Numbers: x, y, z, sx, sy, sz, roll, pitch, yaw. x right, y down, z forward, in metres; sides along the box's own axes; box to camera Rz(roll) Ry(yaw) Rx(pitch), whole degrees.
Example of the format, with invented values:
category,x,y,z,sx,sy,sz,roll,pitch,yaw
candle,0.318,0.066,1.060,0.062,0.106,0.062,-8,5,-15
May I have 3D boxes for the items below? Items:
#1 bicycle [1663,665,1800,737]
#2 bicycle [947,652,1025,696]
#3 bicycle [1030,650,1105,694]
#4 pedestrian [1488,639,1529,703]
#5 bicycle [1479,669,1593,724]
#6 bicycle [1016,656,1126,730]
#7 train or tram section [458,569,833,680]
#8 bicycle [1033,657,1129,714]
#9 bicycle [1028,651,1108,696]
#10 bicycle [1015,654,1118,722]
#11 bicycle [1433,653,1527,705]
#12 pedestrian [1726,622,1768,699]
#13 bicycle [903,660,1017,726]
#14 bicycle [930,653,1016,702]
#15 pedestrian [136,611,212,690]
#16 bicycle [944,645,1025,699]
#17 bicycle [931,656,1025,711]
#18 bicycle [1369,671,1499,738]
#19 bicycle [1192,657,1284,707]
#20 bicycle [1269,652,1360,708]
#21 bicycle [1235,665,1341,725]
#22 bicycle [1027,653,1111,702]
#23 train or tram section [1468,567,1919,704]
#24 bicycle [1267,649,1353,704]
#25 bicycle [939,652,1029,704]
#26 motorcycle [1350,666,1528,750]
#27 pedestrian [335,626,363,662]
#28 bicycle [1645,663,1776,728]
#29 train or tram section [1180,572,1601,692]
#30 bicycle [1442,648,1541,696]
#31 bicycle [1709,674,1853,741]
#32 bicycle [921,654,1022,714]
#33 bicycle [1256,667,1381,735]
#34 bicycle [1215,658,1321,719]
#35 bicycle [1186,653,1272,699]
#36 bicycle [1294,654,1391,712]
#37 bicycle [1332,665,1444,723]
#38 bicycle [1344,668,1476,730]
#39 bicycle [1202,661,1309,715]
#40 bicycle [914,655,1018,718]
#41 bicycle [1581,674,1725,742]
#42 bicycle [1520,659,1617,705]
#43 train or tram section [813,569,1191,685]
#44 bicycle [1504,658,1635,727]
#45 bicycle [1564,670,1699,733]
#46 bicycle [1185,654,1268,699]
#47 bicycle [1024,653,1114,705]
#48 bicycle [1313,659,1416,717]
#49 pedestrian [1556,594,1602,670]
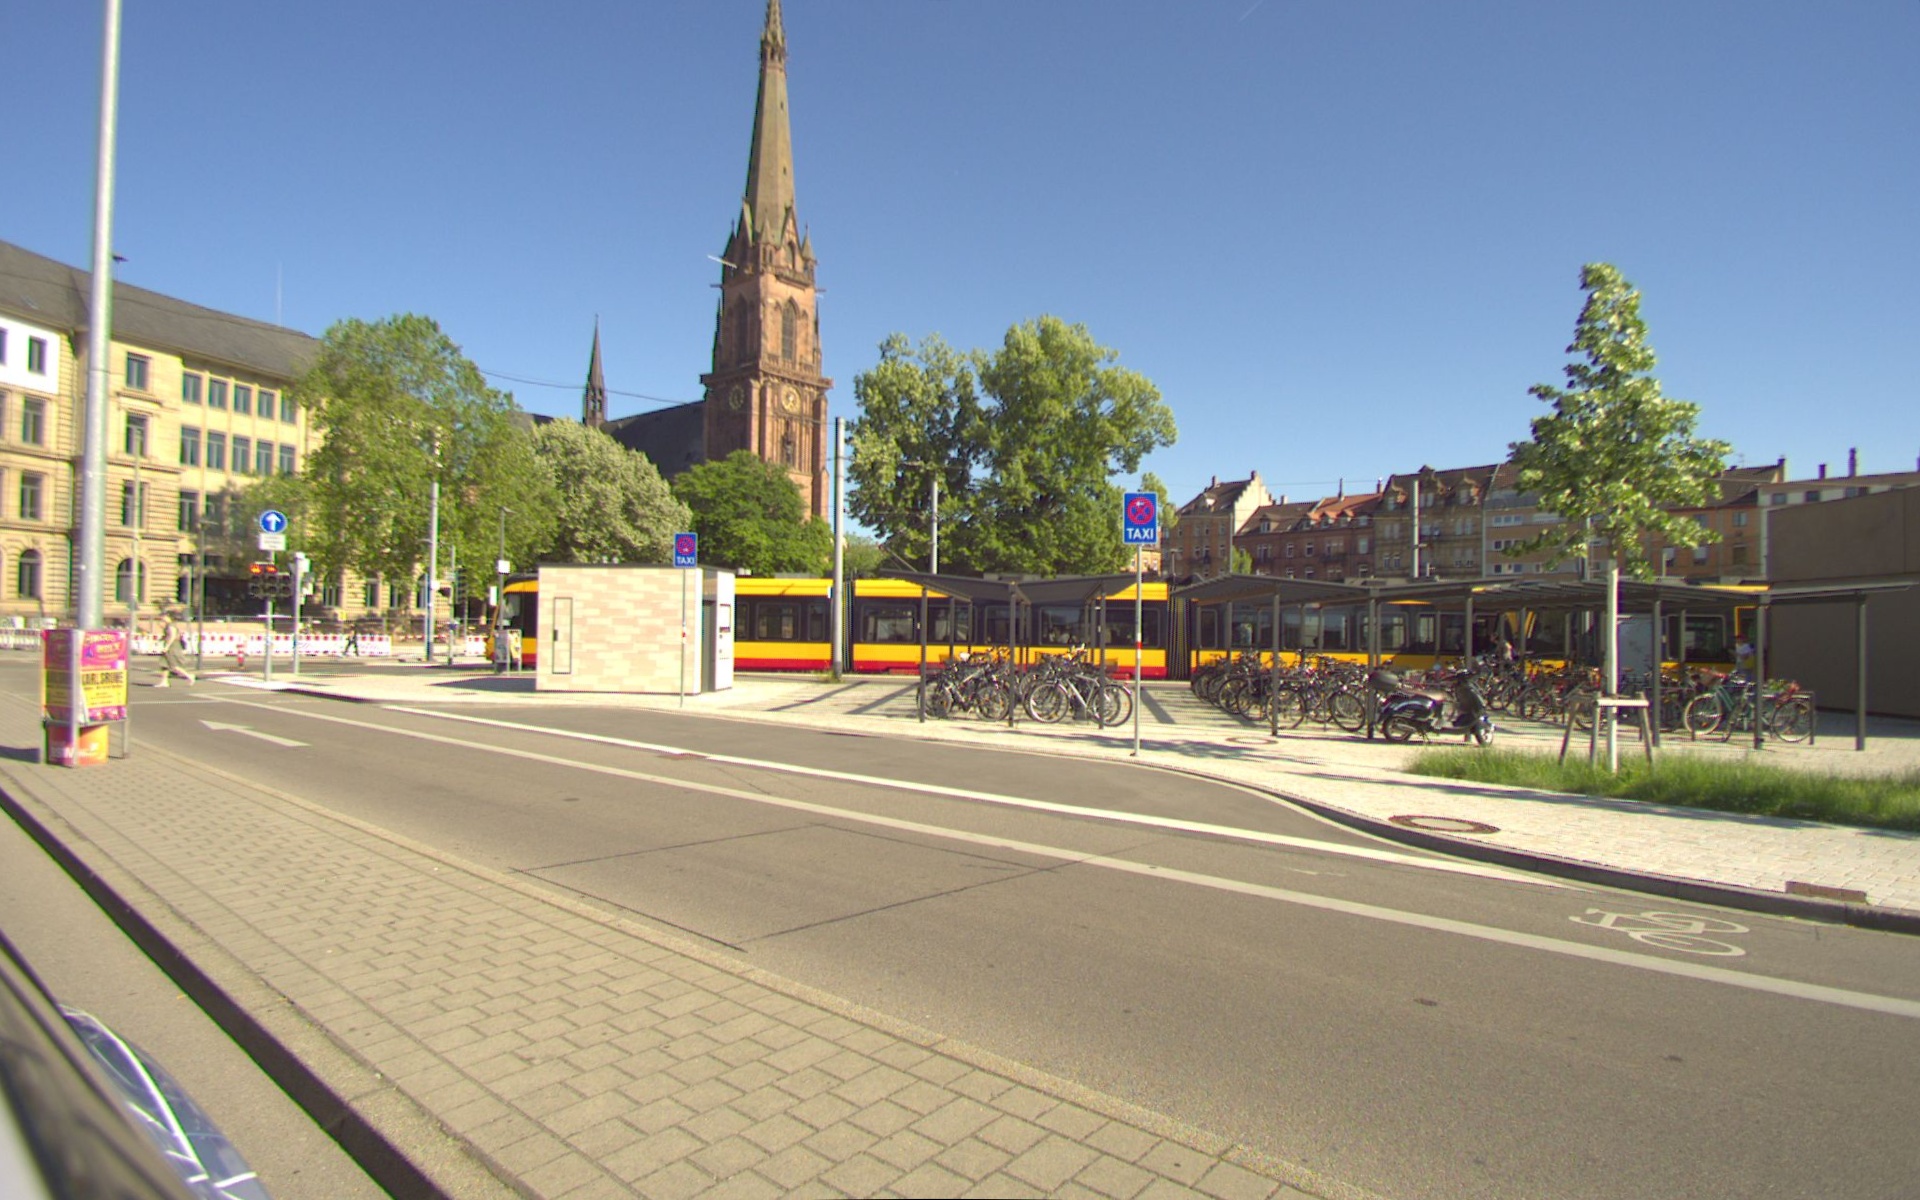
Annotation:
category,x,y,z,sx,sy,sz,roll,pitch,yaw
bicycle,12.994,1.691,17.066,1.805,1.155,0.629,0,-2,0
bicycle,0.623,1.754,24.117,1.809,1.015,0.627,0,-2,9
bicycle,2.636,1.762,24.812,1.808,1.015,0.627,0,-2,7
pedestrian,14.458,1.863,26.694,0.762,1.672,0.604,0,-2,4
bicycle,11.265,1.876,19.843,1.809,1.015,0.627,0,-2,9
bicycle,1.868,1.559,17.136,1.808,1.167,0.627,1,-2,7
train or tram section,-10.844,0.812,35.339,12.382,3.628,2.796,0,-2,6
bicycle,2.324,1.638,19.543,1.808,1.015,0.745,0,-2,7
bicycle,2.513,1.706,23.612,1.808,1.015,0.627,0,-2,7
bicycle,1.912,1.581,18.278,1.808,1.157,0.627,0,-2,7
bicycle,12.004,1.817,23.405,1.809,1.140,0.627,0,-2,9
pedestrian,19.450,1.482,25.018,0.595,1.869,0.683,2,-2,-38
bicycle,0.009,1.586,17.377,1.847,1.015,0.699,2,-2,9
bicycle,0.292,1.694,22.174,1.809,1.015,0.627,0,-2,9
pedestrian,-19.285,1.228,24.849,0.824,1.869,1.217,-1,-2,30
bicycle,0.565,1.650,23.418,1.809,1.188,0.627,0,-2,9
bicycle,0.364,1.638,19.987,1.809,1.015,0.627,0,-2,9
bicycle,7.770,1.707,16.653,1.808,1.015,0.627,0,-2,7
bicycle,5.972,1.760,21.808,1.805,1.015,0.629,0,-2,0
bicycle,7.932,1.770,22.680,1.808,1.198,0.647,0,-2,7
bicycle,5.856,1.688,18.134,1.731,1.015,0.547,0,-2,10
bicycle,2.381,1.691,22.126,1.808,1.015,0.627,0,-2,7
train or tram section,21.383,0.964,28.708,12.179,3.628,2.748,0,-2,7
bicycle,8.239,1.788,23.878,1.808,1.242,0.627,0,-2,7
bicycle,0.516,1.618,21.142,1.809,1.015,0.627,0,-2,9
motorcycle,7.171,1.607,15.236,2.333,1.167,0.610,0,-2,7
pedestrian,-30.006,2.153,49.716,0.920,1.754,0.807,1,-2,-8
bicycle,13.593,1.719,18.361,1.808,1.101,0.627,0,-2,7
train or tram section,13.490,0.987,32.752,12.174,3.628,2.828,0,-2,6
bicycle,11.690,1.580,22.309,1.809,1.015,0.627,0,-2,9
bicycle,13.023,1.698,16.078,1.803,1.015,0.629,1,-2,-3
bicycle,0.216,1.547,18.768,1.809,1.059,0.571,0,-2,9
bicycle,5.980,1.679,16.981,1.871,1.050,0.688,0,-2,9
bicycle,5.879,1.685,19.412,1.859,1.101,0.626,0,-2,8
bicycle,6.125,1.724,23.113,1.807,1.015,0.628,0,-2,5
bicycle,8.114,1.749,21.530,1.808,1.170,0.627,0,-2,7
bicycle,8.003,1.752,18.973,1.808,1.015,0.627,0,-2,7
bicycle,7.922,1.733,17.879,2.003,1.015,0.627,0,-2,7
bicycle,5.952,1.764,20.433,1.978,1.015,0.628,0,-2,4
bicycle,0.119,1.541,18.240,1.809,1.074,0.627,0,-2,9
bicycle,11.161,1.725,16.351,1.809,1.015,0.627,0,-2,9
bicycle,14.056,1.884,23.407,1.808,1.015,0.627,0,-2,7
train or tram section,1.377,0.867,34.035,12.174,3.628,2.796,0,-2,6
bicycle,11.300,1.706,18.803,2.029,1.218,0.505,0,-2,8
bicycle,11.606,1.745,17.527,1.872,1.004,0.499,0,-2,13
bicycle,6.254,1.789,23.801,1.808,1.015,0.627,0,-2,6
bicycle,2.232,1.612,20.851,1.808,1.015,0.627,0,-2,7
bicycle,8.077,1.750,20.264,1.808,1.088,0.627,0,-2,7
pedestrian,15.469,0.801,25.295,0.700,1.869,0.751,2,-2,-38
